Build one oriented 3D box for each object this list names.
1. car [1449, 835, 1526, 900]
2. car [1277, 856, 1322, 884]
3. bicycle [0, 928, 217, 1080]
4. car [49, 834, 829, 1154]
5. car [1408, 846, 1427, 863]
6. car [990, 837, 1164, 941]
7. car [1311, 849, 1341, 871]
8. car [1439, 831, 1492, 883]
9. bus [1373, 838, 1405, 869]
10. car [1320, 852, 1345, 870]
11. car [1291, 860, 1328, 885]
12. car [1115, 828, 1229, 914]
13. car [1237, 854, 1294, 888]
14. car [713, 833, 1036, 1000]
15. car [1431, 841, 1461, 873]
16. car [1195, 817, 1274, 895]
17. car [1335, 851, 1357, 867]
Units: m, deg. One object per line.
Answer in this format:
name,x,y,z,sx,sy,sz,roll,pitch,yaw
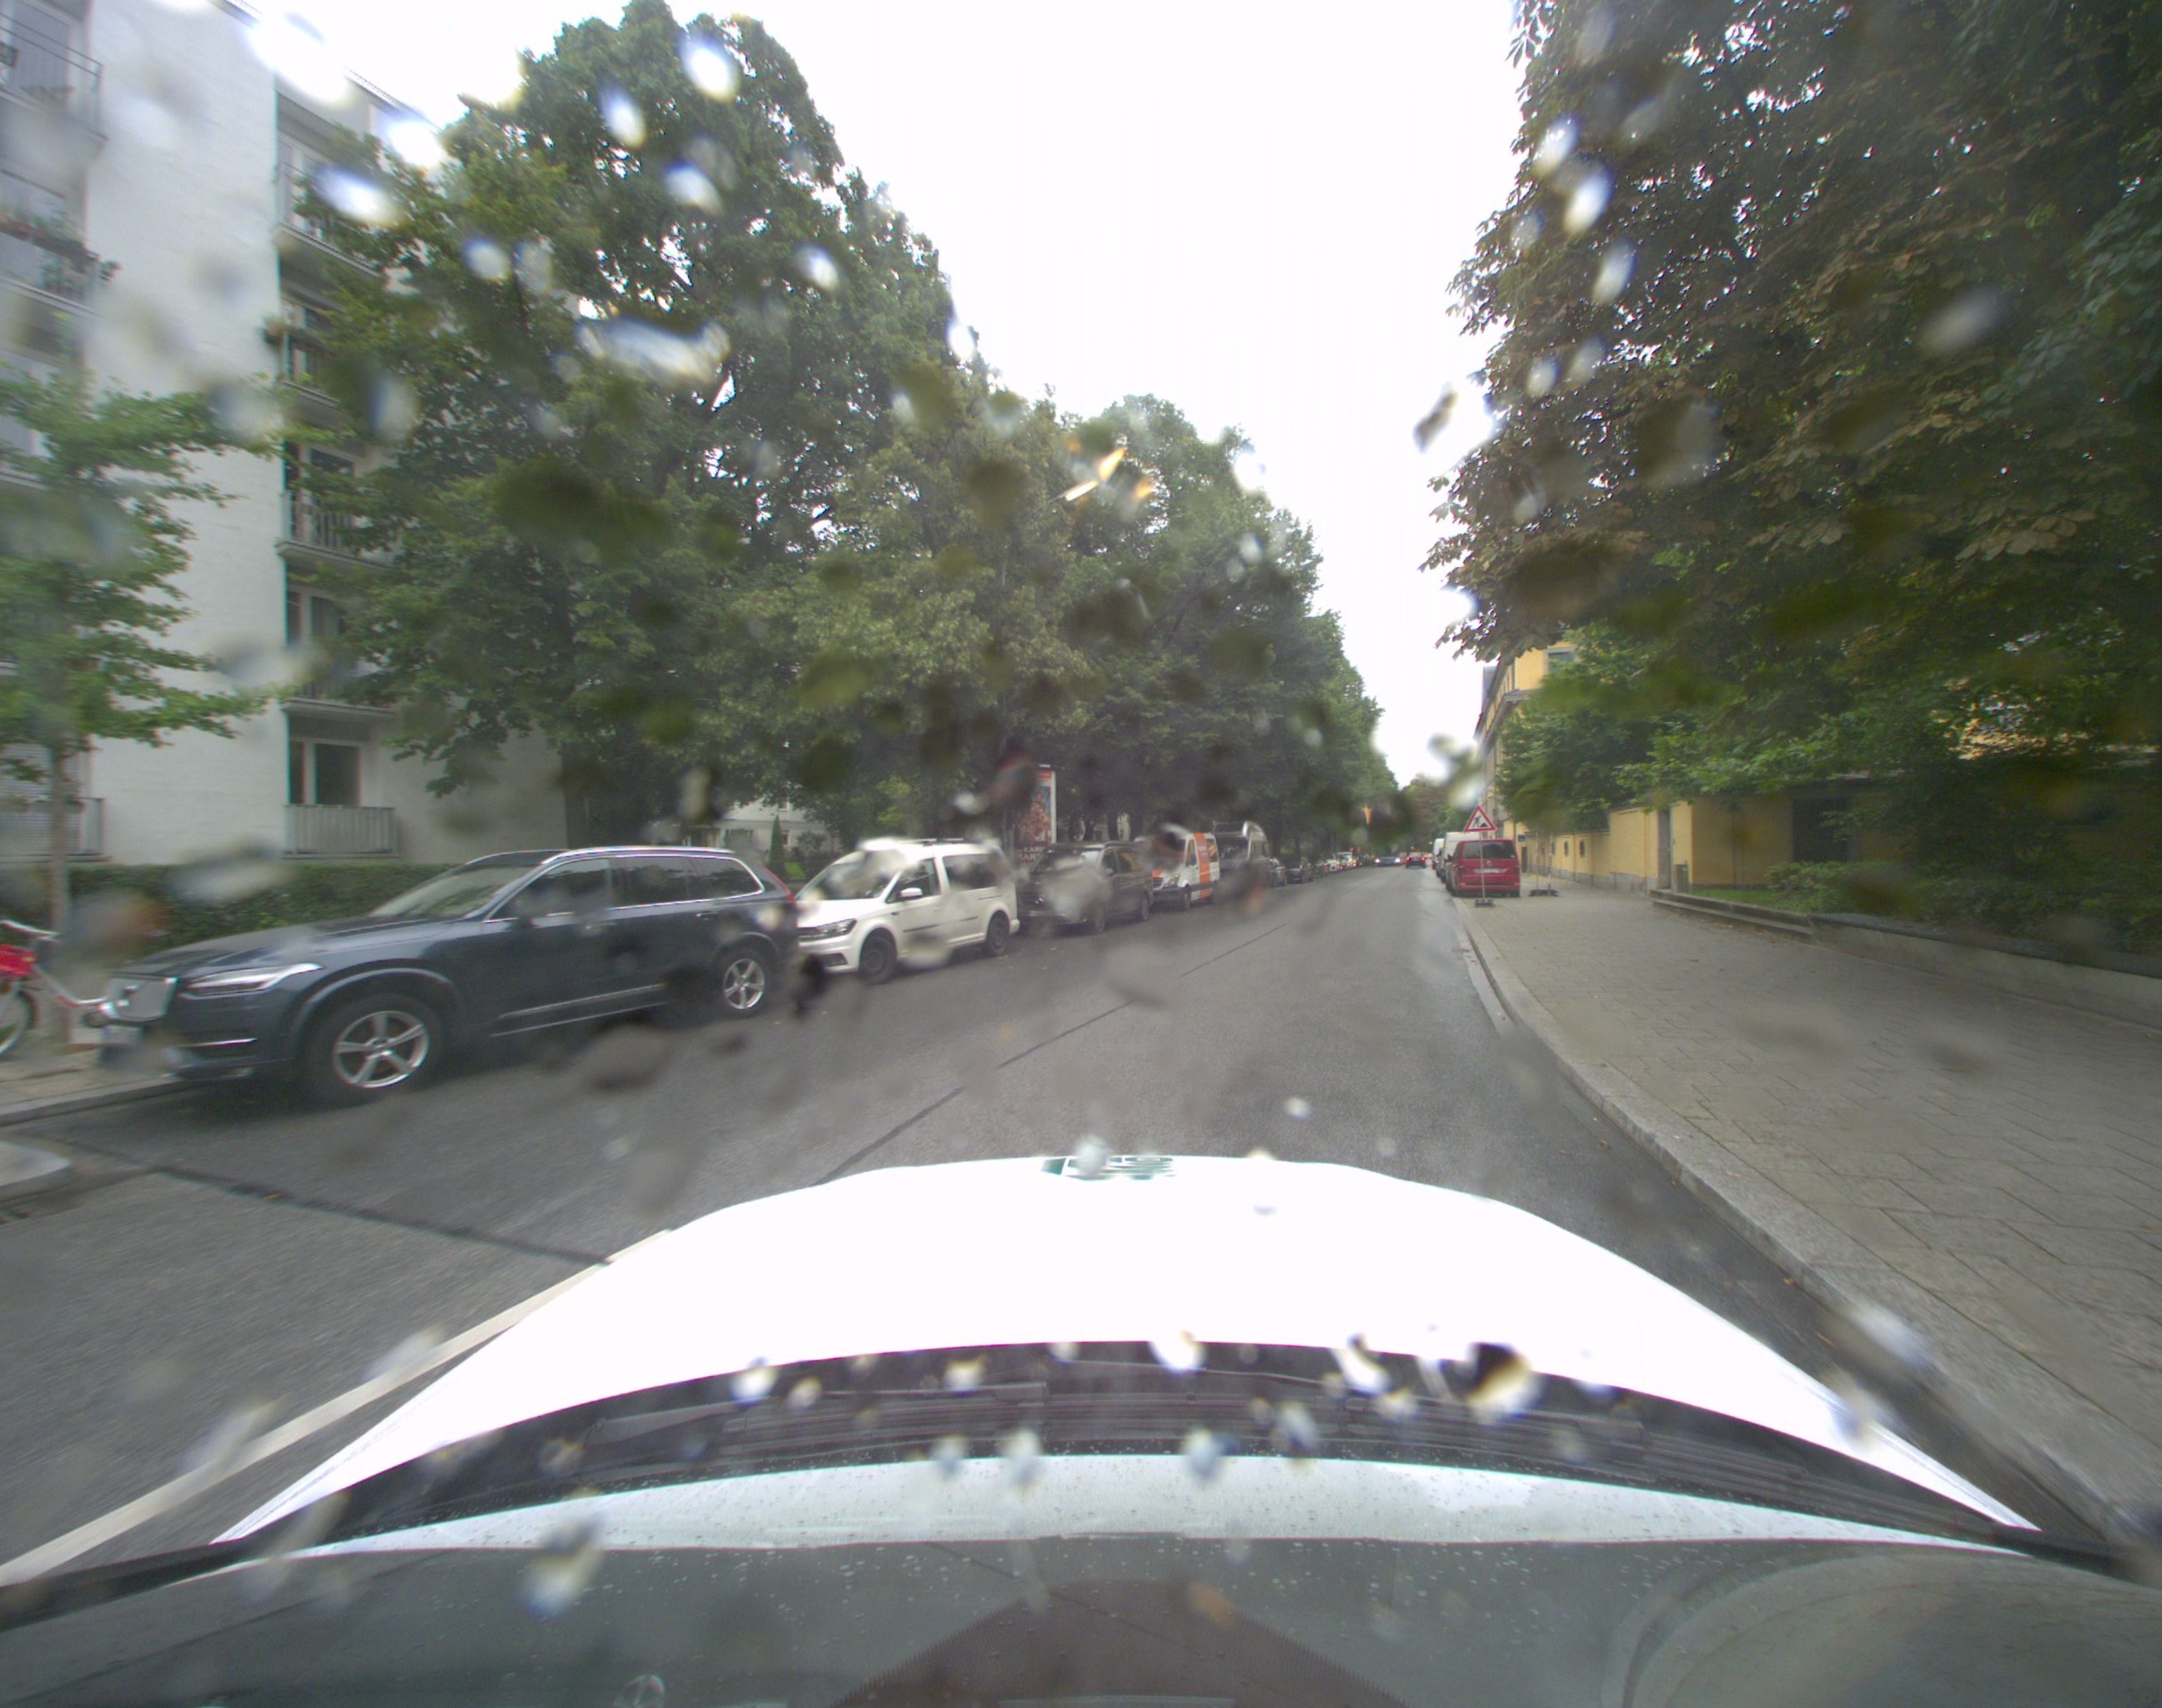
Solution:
car,13.636,0.472,27.576,1.843,1.968,5.473,-1,-1,22
car,11.803,0.858,43.801,1.774,1.438,4.575,-1,-1,22
bicycle,-7.954,1.146,6.473,0.462,1.013,1.425,-1,-1,15
car,-4.774,0.822,7.211,1.862,1.768,5.088,-1,-1,26
car,31.691,0.043,76.650,1.563,1.584,4.067,-1,-1,24
car,0.136,0.674,18.296,1.928,1.964,5.488,-2,0,22
car,18.848,0.485,62.469,1.768,1.597,4.608,-1,-1,21
car,19.888,0.186,42.333,2.077,2.488,5.770,-1,-1,22
bus,36.159,0.132,95.251,2.834,3.239,18.524,-1,-1,22
car,21.123,0.559,68.221,1.658,1.469,4.125,-1,-1,21
car,14.012,1.147,49.790,1.774,1.454,3.969,-1,-1,22
car,2.945,0.520,25.056,2.096,2.349,5.436,-1,-1,22
car,8.933,0.780,39.093,1.774,1.438,4.604,-1,0,24
car,-2.700,0.733,12.031,1.862,1.937,4.861,-2,-1,26
car,32.528,0.259,72.764,2.037,2.673,7.654,-1,-1,22
car,6.362,0.124,33.088,1.928,2.855,6.268,-1,-1,22
car,25.151,0.474,77.165,1.658,1.469,4.125,-1,-1,21
